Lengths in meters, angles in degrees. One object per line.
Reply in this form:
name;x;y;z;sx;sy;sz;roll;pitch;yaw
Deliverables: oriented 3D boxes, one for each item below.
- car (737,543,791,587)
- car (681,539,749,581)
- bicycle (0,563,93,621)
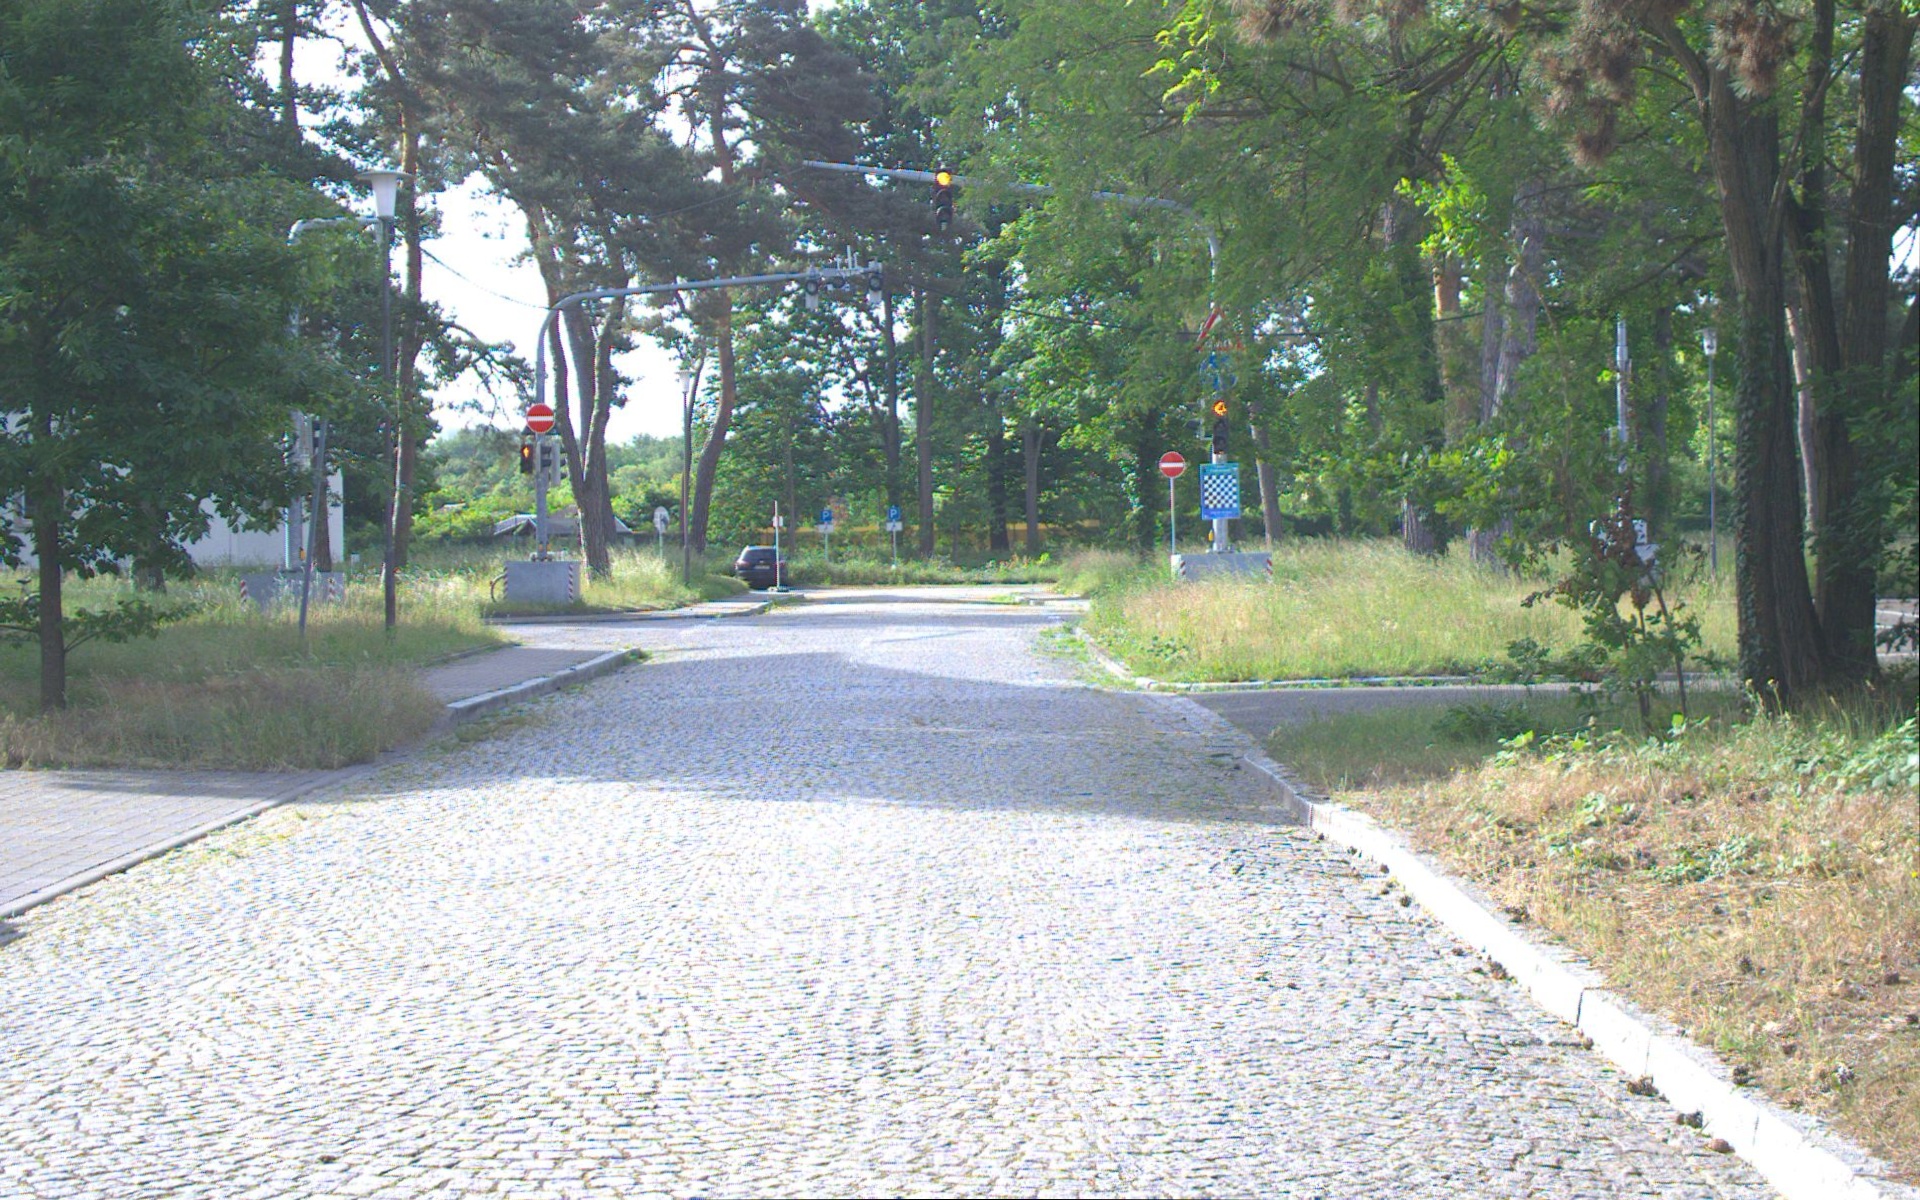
car;-6.881;-1.252;121.086;1.845;1.481;4.001;-1;1;-3
car;-8.935;-1.459;125.851;1.783;1.485;3.754;-1;1;7
bicycle;-17.218;-0.149;63.655;2.117;1.043;0.829;-1;1;-3
